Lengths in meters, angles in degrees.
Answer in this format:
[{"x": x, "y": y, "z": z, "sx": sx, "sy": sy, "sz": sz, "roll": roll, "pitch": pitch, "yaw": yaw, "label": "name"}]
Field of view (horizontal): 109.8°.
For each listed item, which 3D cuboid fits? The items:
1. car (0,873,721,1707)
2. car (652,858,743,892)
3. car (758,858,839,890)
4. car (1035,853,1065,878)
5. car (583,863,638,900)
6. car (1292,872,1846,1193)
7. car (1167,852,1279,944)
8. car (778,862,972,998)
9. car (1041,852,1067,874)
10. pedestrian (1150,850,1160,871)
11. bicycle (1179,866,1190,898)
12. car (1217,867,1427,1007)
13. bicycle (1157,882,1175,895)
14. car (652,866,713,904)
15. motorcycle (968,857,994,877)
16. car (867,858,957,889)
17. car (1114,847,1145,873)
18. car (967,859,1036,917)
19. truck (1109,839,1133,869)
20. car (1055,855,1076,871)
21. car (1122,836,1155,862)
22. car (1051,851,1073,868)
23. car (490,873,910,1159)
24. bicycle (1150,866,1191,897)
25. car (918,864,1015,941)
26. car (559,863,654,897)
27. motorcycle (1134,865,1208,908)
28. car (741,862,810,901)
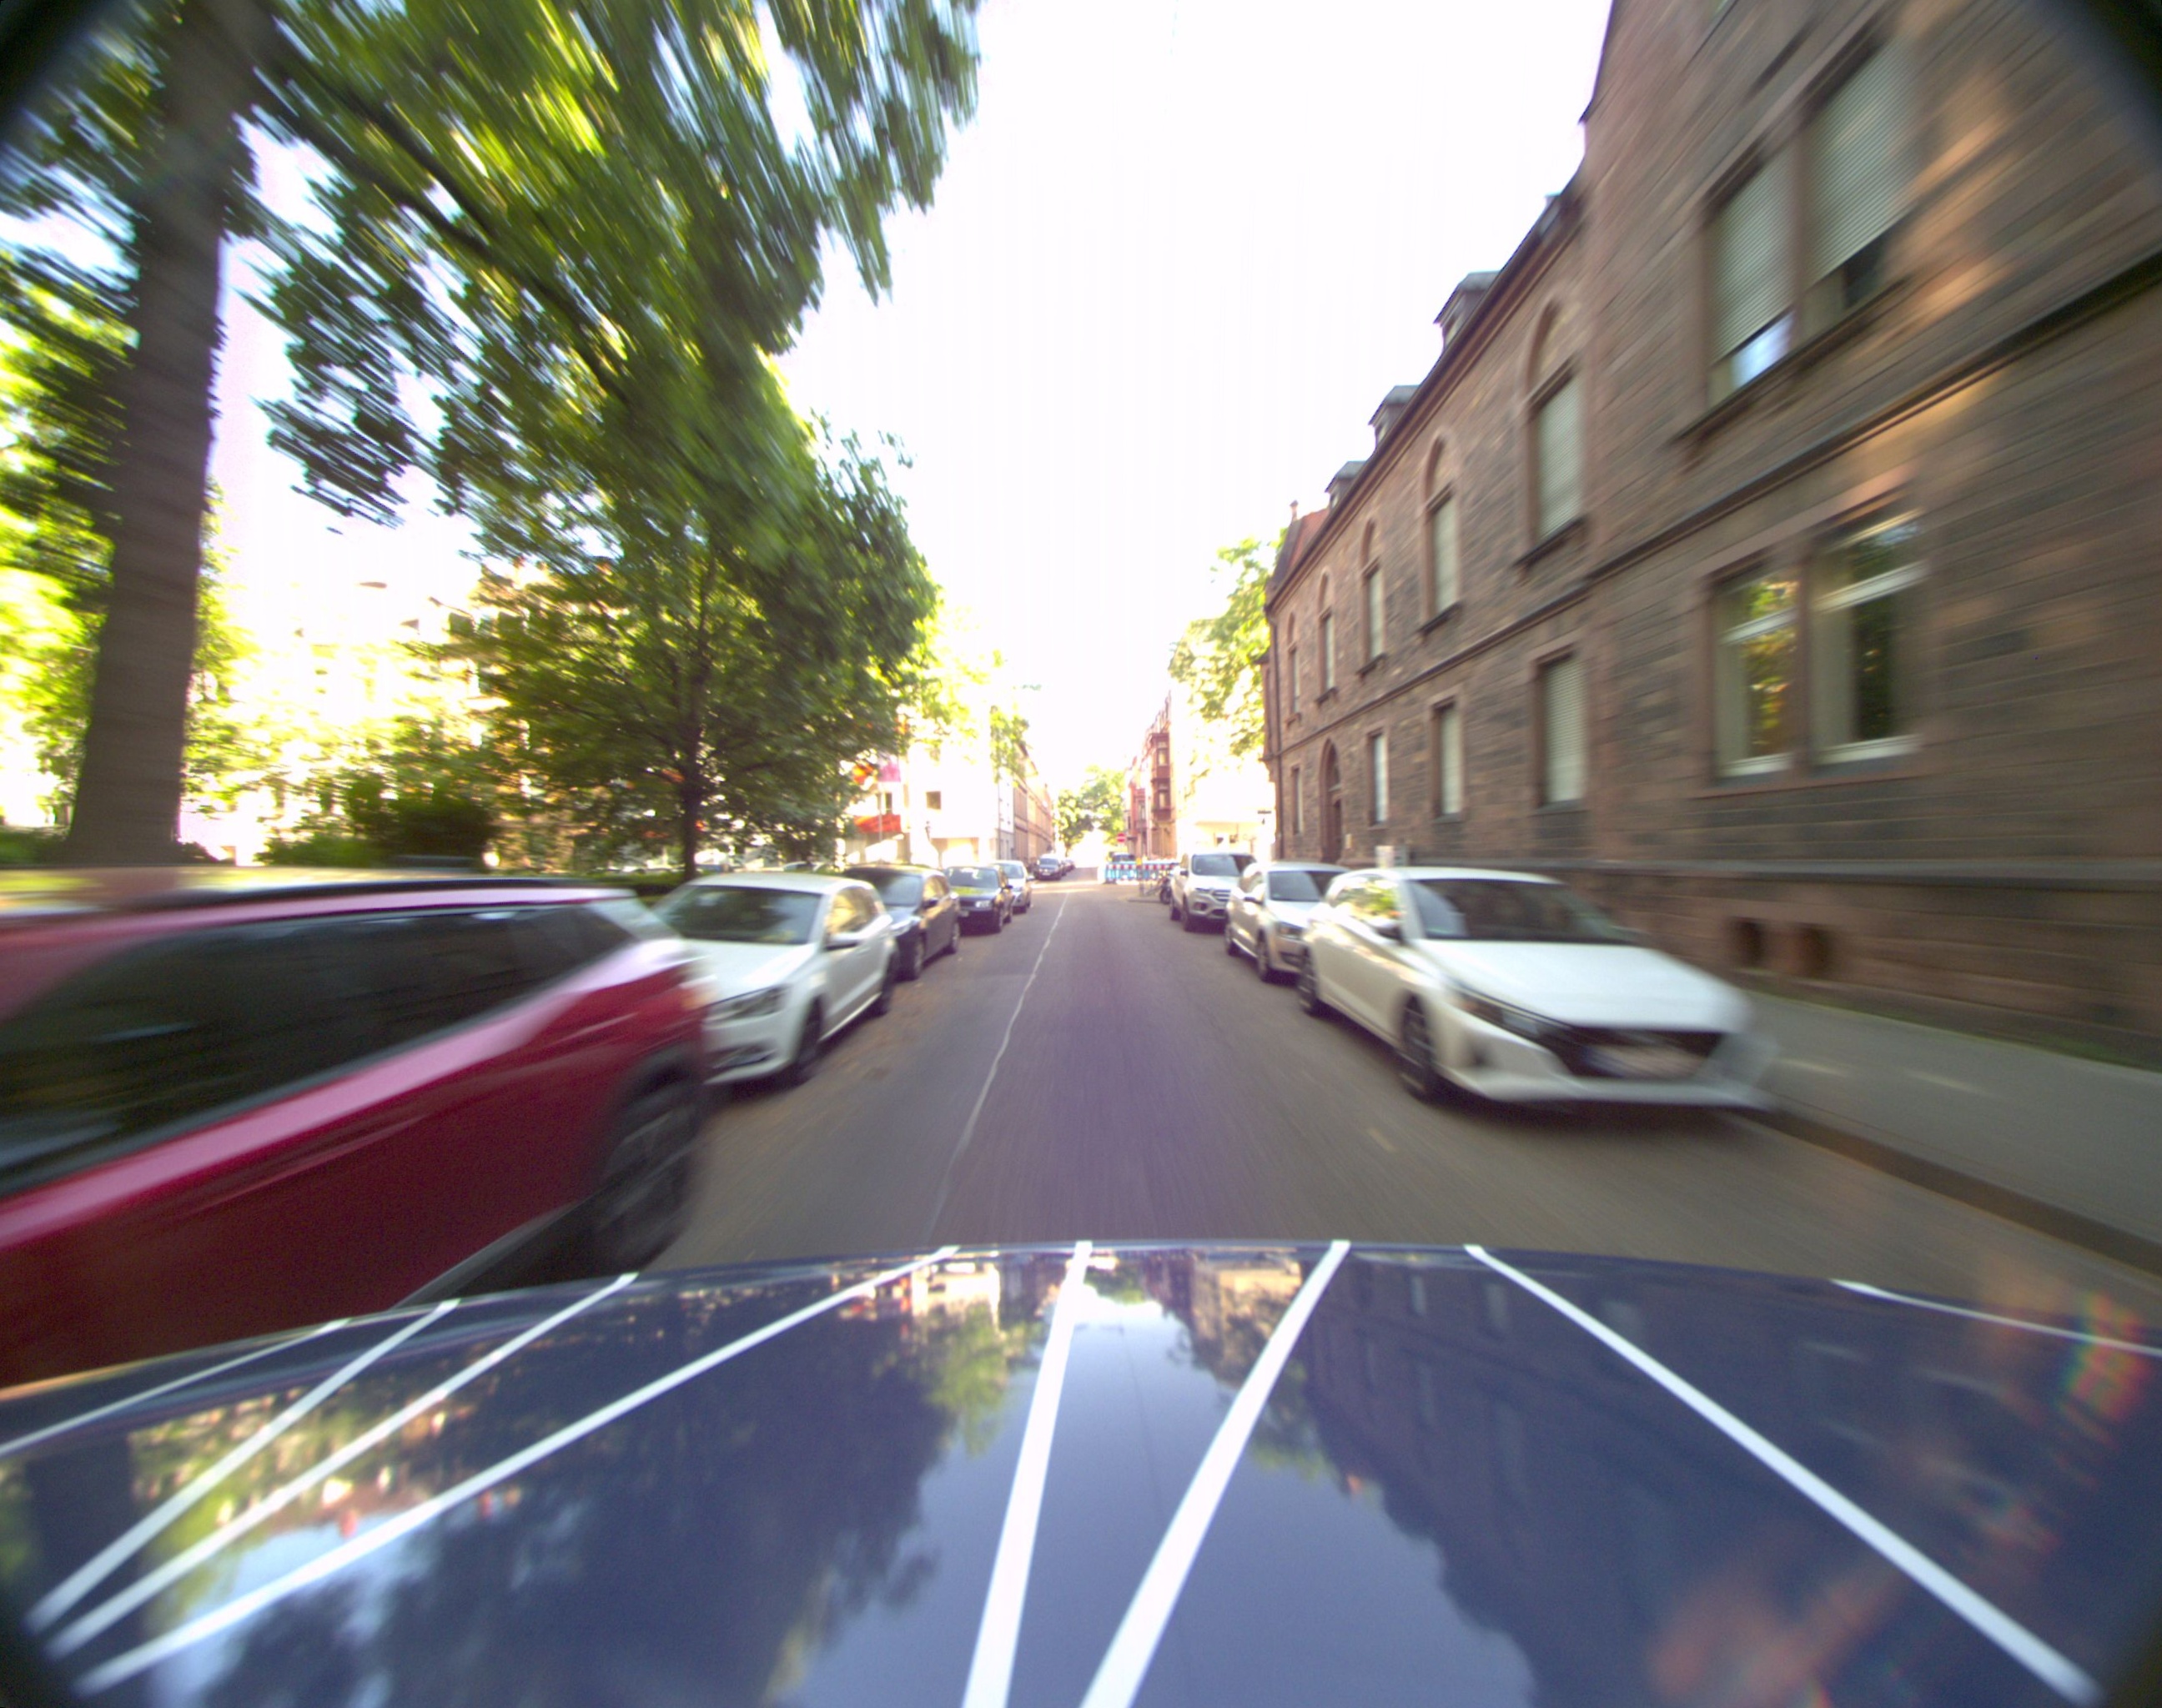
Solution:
[{"x": -2.597, "y": 0.947, "z": 1.449, "sx": 1.668, "sy": 1.577, "sz": 4.100, "roll": 3, "pitch": 1, "yaw": 3, "label": "car"}, {"x": -20.659, "y": 1.118, "z": 41.036, "sx": 4.036, "sy": 1.608, "sz": 1.649, "roll": -2, "pitch": 3, "yaw": 0, "label": "car"}, {"x": -15.142, "y": 1.058, "z": 40.869, "sx": 3.695, "sy": 1.550, "sz": 1.649, "roll": -2, "pitch": 3, "yaw": 0, "label": "car"}, {"x": -2.098, "y": 0.766, "z": 51.969, "sx": 1.845, "sy": 1.643, "sz": 4.000, "roll": 0, "pitch": 0, "yaw": 1, "label": "car"}, {"x": -21.062, "y": 1.153, "z": 33.931, "sx": 1.785, "sy": 1.423, "sz": 4.404, "roll": -3, "pitch": 2, "yaw": -34, "label": "car"}, {"x": 2.911, "y": 0.921, "z": 5.630, "sx": 1.713, "sy": 1.409, "sz": 3.803, "roll": 1, "pitch": 1, "yaw": 2, "label": "car"}, {"x": 2.901, "y": 0.825, "z": 16.421, "sx": 1.713, "sy": 1.664, "sz": 4.277, "roll": 1, "pitch": 1, "yaw": 2, "label": "car"}, {"x": -2.879, "y": 0.975, "z": 11.533, "sx": 1.668, "sy": 1.511, "sz": 4.060, "roll": 3, "pitch": 1, "yaw": 2, "label": "car"}, {"x": -2.254, "y": 0.733, "z": 62.835, "sx": 1.999, "sy": 1.659, "sz": 3.998, "roll": -2, "pitch": 0, "yaw": -4, "label": "car"}, {"x": 5.878, "y": 0.509, "z": 60.385, "sx": 0.670, "sy": 1.585, "sz": 0.597, "roll": -2, "pitch": 0, "yaw": -3, "label": "pedestrian"}, {"x": 3.535, "y": 0.950, "z": 25.879, "sx": 0.233, "sy": 1.036, "sz": 1.199, "roll": -3, "pitch": 0, "yaw": 11, "label": "bicycle"}, {"x": 3.004, "y": 0.955, "z": 10.309, "sx": 1.713, "sy": 1.409, "sz": 3.803, "roll": 1, "pitch": 1, "yaw": 2, "label": "car"}, {"x": 3.155, "y": 1.271, "z": 28.167, "sx": 0.451, "sy": 0.440, "sz": 1.198, "roll": -2, "pitch": -2, "yaw": -3, "label": "bicycle"}, {"x": -17.516, "y": 1.301, "z": 33.295, "sx": 1.785, "sy": 1.423, "sz": 4.404, "roll": -3, "pitch": 2, "yaw": -34, "label": "car"}, {"x": -5.892, "y": 0.775, "z": 44.945, "sx": 1.472, "sy": 1.111, "sz": 0.908, "roll": -2, "pitch": 0, "yaw": -6, "label": "motorcycle"}, {"x": -8.996, "y": 1.023, "z": 40.702, "sx": 4.412, "sy": 1.423, "sz": 1.782, "roll": -2, "pitch": 1, "yaw": 0, "label": "car"}, {"x": 3.652, "y": 0.421, "z": 57.771, "sx": 1.805, "sy": 1.841, "sz": 3.999, "roll": -2, "pitch": 0, "yaw": -3, "label": "car"}, {"x": -2.295, "y": 0.946, "z": 22.826, "sx": 1.713, "sy": 1.511, "sz": 3.830, "roll": 0, "pitch": 1, "yaw": -1, "label": "car"}, {"x": 3.655, "y": -0.023, "z": 70.502, "sx": 1.971, "sy": 2.643, "sz": 5.884, "roll": 0, "pitch": 0, "yaw": 1, "label": "truck"}, {"x": -1.659, "y": 1.011, "z": 83.519, "sx": 1.998, "sy": 1.659, "sz": 4.000, "roll": -2, "pitch": 0, "yaw": 2, "label": "car"}, {"x": 3.917, "y": -0.333, "z": 52.351, "sx": 1.776, "sy": 1.695, "sz": 3.999, "roll": -2, "pitch": 0, "yaw": -3, "label": "car"}, {"x": -1.902, "y": 0.547, "z": 78.586, "sx": 1.998, "sy": 1.659, "sz": 4.000, "roll": -2, "pitch": 0, "yaw": 2, "label": "car"}, {"x": -2.770, "y": 1.043, "z": 6.609, "sx": 1.668, "sy": 1.511, "sz": 3.950, "roll": 3, "pitch": 1, "yaw": -1, "label": "car"}, {"x": 3.121, "y": 0.958, "z": 26.612, "sx": 0.234, "sy": 1.037, "sz": 1.679, "roll": -5, "pitch": 3, "yaw": -39, "label": "bicycle"}, {"x": -2.473, "y": 1.005, "z": 17.214, "sx": 1.625, "sy": 1.428, "sz": 4.002, "roll": 0, "pitch": 1, "yaw": -1, "label": "car"}, {"x": -25.470, "y": 1.382, "z": 40.884, "sx": 4.000, "sy": 1.571, "sz": 1.649, "roll": -2, "pitch": 3, "yaw": 0, "label": "car"}, {"x": 2.771, "y": 0.975, "z": 23.616, "sx": 0.703, "sy": 1.244, "sz": 2.320, "roll": -2, "pitch": 2, "yaw": -44, "label": "motorcycle"}, {"x": -13.103, "y": 1.111, "z": 32.446, "sx": 1.785, "sy": 1.423, "sz": 4.404, "roll": -3, "pitch": 2, "yaw": -34, "label": "car"}]
